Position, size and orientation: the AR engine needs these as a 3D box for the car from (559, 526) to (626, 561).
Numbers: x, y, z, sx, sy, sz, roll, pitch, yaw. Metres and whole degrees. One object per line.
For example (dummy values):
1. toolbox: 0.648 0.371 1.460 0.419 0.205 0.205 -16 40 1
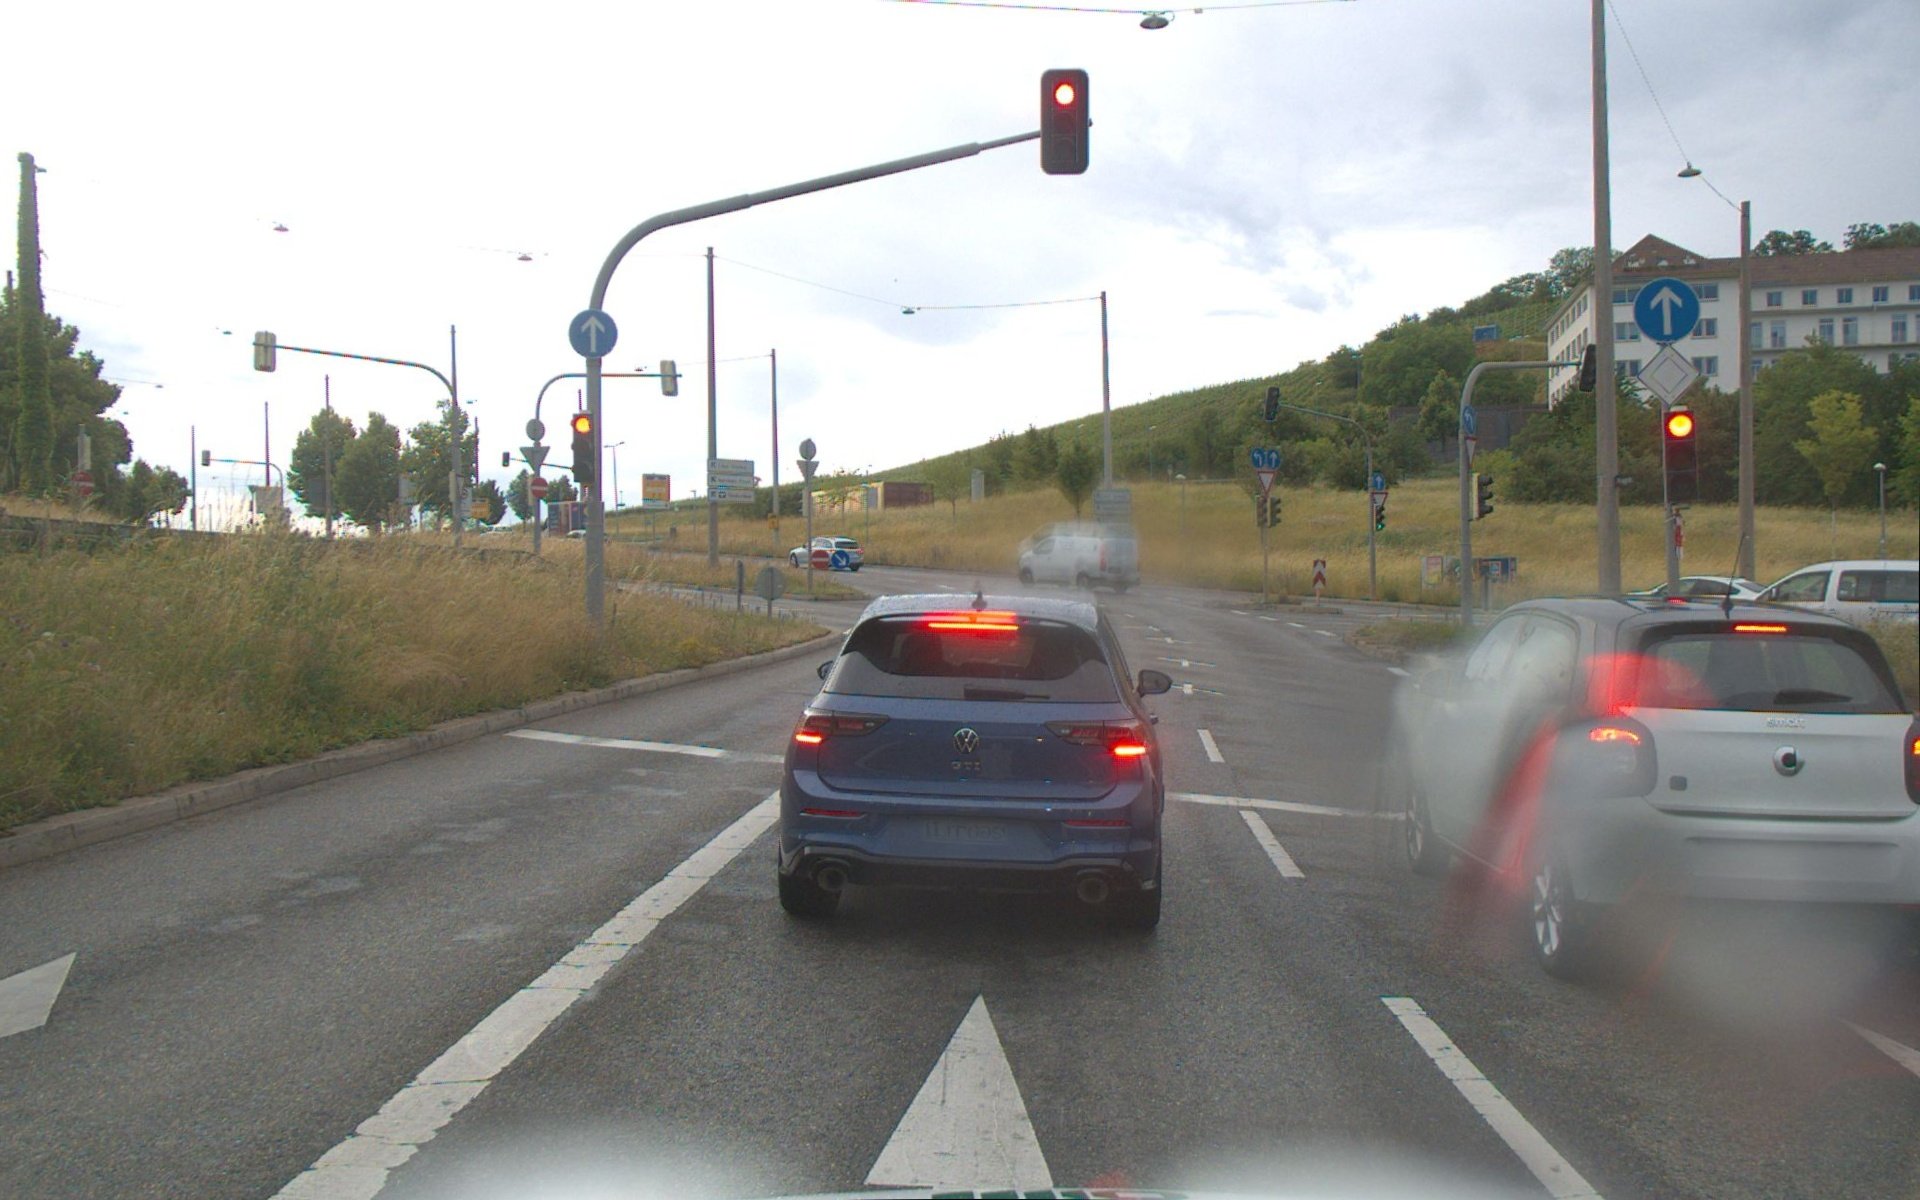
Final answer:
1. car: -19.522 -2.952 87.807 1.977 1.688 4.300 1 0 -35

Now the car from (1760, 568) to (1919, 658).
1. car: 17.950 0.251 31.548 1.982 1.649 4.457 1 0 -41

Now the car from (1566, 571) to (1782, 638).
1. car: 16.969 0.111 39.496 1.978 1.503 4.364 1 0 -36

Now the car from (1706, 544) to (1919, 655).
1. car: 15.994 -0.002 29.439 1.807 1.882 4.623 1 -1 -44

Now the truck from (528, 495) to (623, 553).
1. truck: -22.998 -4.551 98.728 3.232 3.127 6.098 3 1 -36

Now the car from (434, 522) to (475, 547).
1. car: -38.549 -4.963 126.075 1.973 1.688 4.497 1 0 -31

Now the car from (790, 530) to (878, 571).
1. car: -5.720 -2.217 74.780 1.977 1.688 4.489 1 0 -35

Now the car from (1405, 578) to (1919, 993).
1. car: 3.307 0.705 7.917 1.623 1.529 3.452 1 0 4

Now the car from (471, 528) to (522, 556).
1. car: -31.475 -3.921 112.214 1.977 1.688 4.489 1 0 -35

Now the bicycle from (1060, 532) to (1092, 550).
1. bicycle: 5.524 -2.815 78.981 0.515 0.788 1.597 3 1 -42

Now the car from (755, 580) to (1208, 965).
1. car: 0.203 0.661 8.501 1.787 1.486 3.810 1 1 4

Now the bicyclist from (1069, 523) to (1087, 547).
1. bicyclist: 5.625 -3.102 78.889 0.520 1.065 0.572 3 0 -42

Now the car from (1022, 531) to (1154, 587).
1. car: 4.435 -1.394 58.096 2.111 1.826 4.682 2 -1 -35
